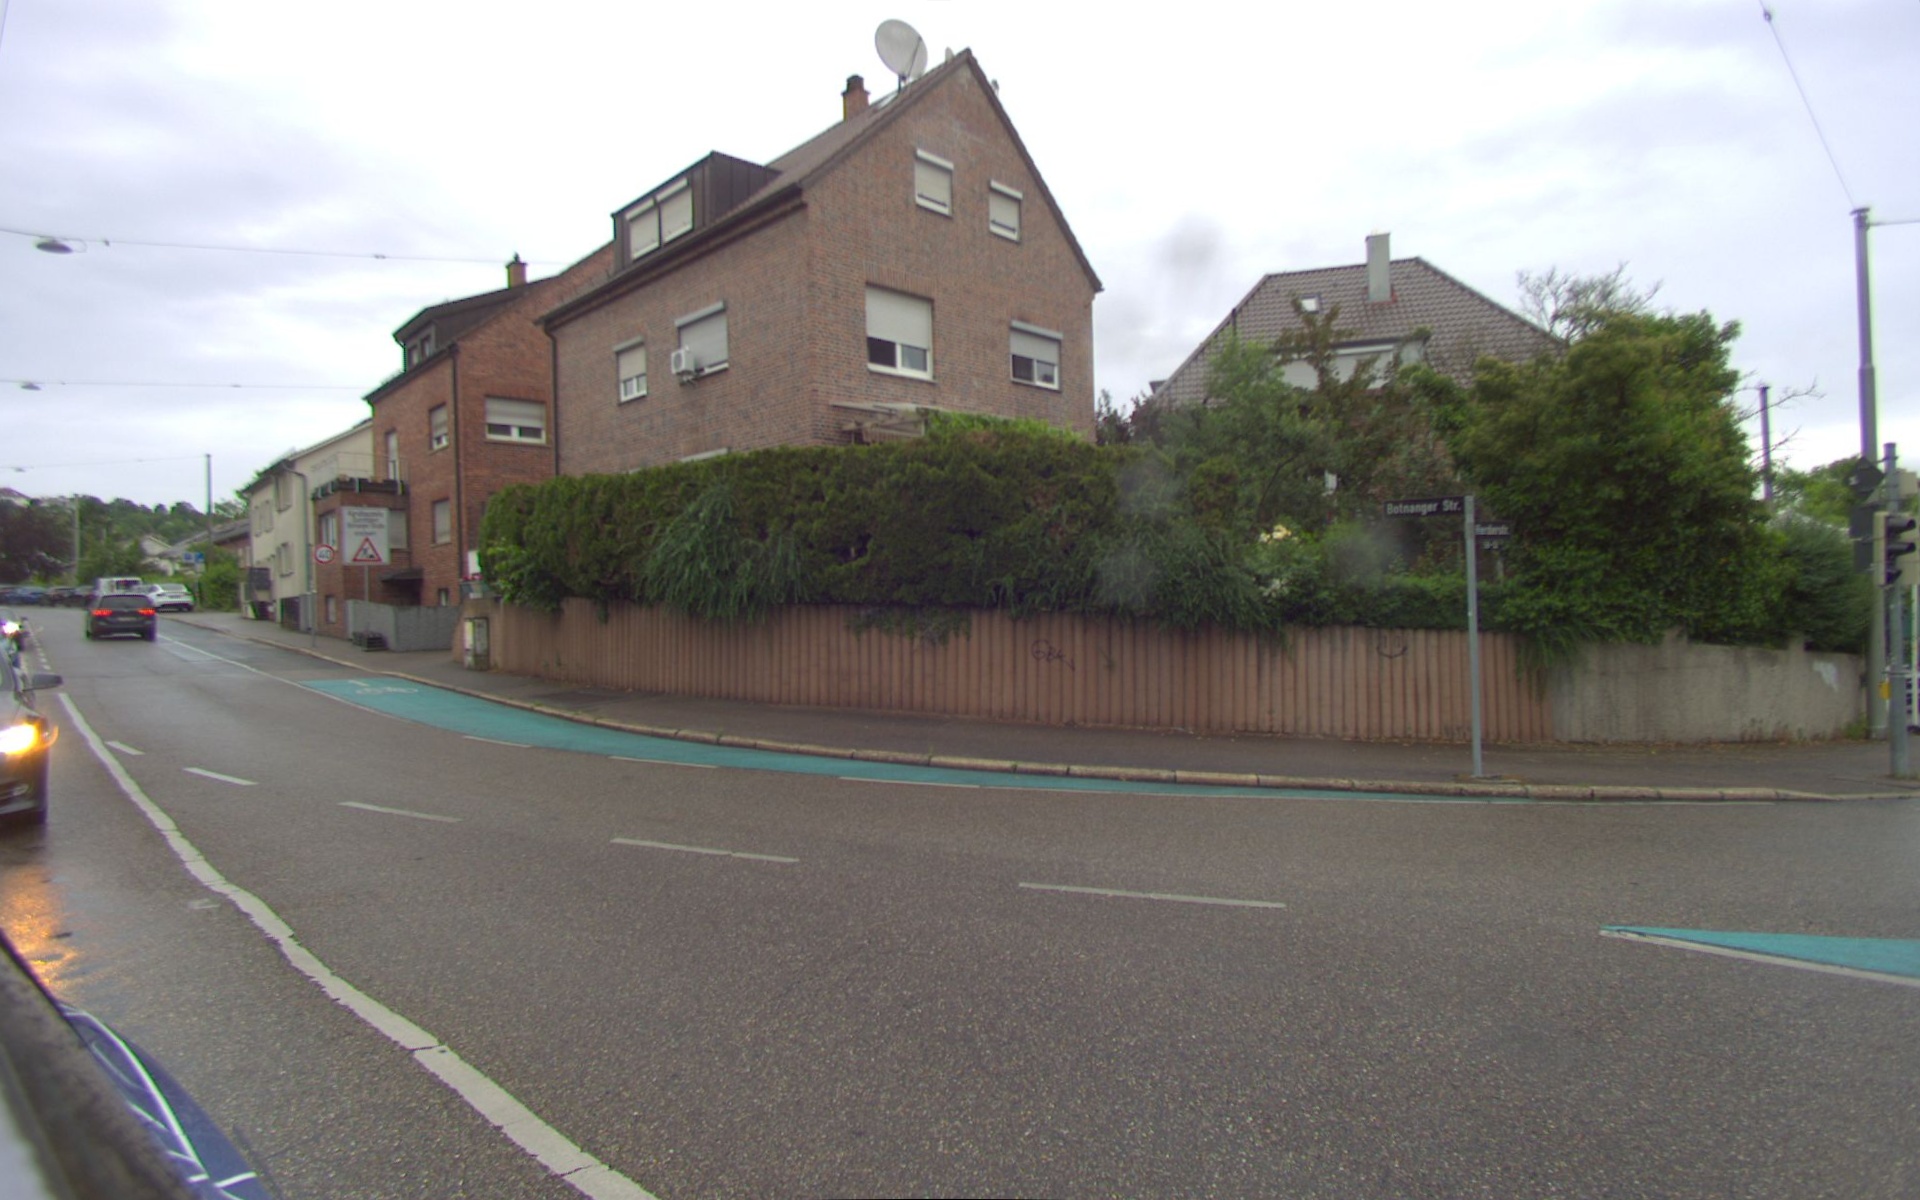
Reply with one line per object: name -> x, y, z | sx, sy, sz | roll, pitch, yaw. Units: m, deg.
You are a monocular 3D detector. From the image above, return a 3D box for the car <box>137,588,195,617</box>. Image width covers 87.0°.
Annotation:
car -> -46.427, 0.165, 59.141 | 4.262, 1.577, 1.921 | 0, 2, 42

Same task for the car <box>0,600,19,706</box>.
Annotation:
car -> -16.381, 0.809, 16.223 | 3.785, 1.601, 1.765 | 0, 0, 45

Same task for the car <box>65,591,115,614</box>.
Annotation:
car -> -61.298, 0.172, 71.295 | 4.002, 1.501, 1.636 | -1, 2, 34

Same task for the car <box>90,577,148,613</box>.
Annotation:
car -> -57.022, -0.316, 68.592 | 4.544, 2.303, 2.229 | 0, 2, 41

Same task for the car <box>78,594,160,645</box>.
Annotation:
car -> -29.910, 0.673, 35.950 | 4.175, 1.693, 1.827 | 1, -1, 45

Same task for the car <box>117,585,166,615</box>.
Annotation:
car -> -52.376, -0.006, 64.734 | 4.262, 1.817, 1.791 | 0, 2, 42

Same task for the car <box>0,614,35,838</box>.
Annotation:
car -> -8.214, 0.842, 7.483 | 4.002, 1.426, 1.845 | 0, 0, 45

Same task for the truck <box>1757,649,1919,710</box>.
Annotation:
truck -> 28.901, 2.566, 32.435 | 1.876, 1.800, 5.002 | 1, -5, -16

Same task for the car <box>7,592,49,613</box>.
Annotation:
car -> -71.149, 0.212, 77.255 | 3.895, 1.501, 1.605 | -1, 2, 36

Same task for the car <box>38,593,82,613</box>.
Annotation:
car -> -66.533, 0.248, 74.836 | 3.854, 1.407, 1.634 | -1, 2, 36
